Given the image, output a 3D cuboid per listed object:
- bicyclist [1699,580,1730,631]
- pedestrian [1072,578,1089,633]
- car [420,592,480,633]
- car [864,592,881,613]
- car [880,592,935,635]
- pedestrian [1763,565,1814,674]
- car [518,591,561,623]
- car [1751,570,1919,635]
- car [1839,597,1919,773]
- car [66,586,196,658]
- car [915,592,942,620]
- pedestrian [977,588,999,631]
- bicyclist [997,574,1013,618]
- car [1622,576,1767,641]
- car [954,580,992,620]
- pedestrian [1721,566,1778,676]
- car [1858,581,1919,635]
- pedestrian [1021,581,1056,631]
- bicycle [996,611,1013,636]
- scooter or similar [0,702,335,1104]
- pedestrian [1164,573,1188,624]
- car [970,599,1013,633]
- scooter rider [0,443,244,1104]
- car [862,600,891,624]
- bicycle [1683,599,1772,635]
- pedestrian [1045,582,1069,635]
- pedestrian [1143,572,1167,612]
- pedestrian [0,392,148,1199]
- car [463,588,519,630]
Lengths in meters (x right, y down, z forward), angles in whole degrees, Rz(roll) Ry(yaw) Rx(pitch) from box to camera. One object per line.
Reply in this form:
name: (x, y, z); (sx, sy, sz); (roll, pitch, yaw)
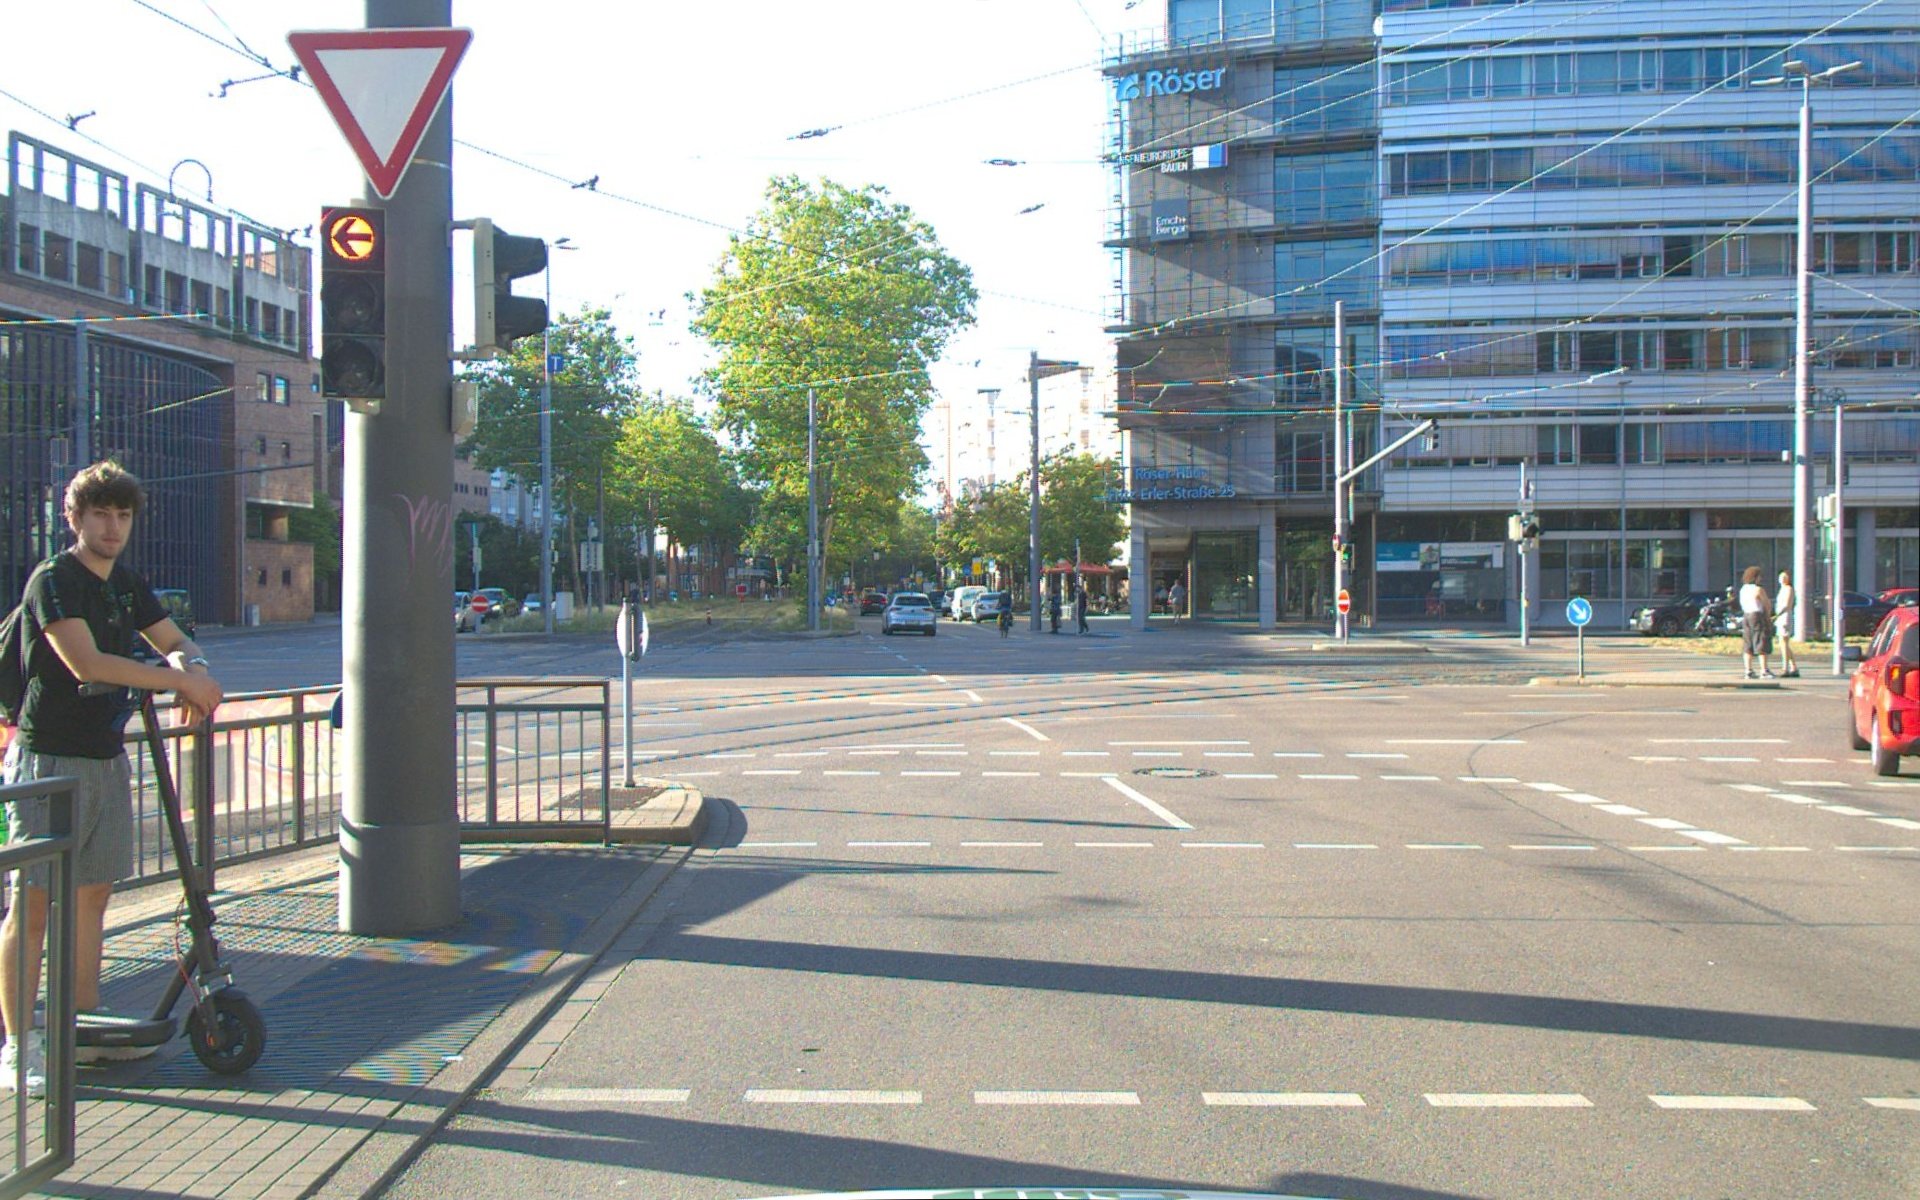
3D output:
bicyclist: (22.730, 0.165, 49.840); (0.649, 1.529, 0.613); (-1, 0, 4)
pedestrian: (4.579, 0.211, 62.847); (0.574, 2.049, 0.620); (1, -1, 0)
car: (-20.612, 0.474, 66.975); (1.591, 1.604, 3.994); (-1, 0, -7)
car: (-11.609, 0.341, 220.405); (1.952, 2.049, 3.999); (1, -9, 0)
car: (-1.794, 0.443, 58.043); (1.712, 1.443, 4.001); (1, 0, 1)
pedestrian: (13.852, 0.317, 27.675); (0.725, 1.789, 0.685); (-1, 0, 26)
car: (-22.202, 0.360, 87.521); (1.644, 1.635, 3.994); (1, 0, -7)
car: (25.092, 0.058, 47.142); (4.165, 1.753, 1.885); (-1, 0, 2)
car: (9.292, 0.726, 15.498); (1.460, 1.485, 3.597); (1, 0, 22)
car: (-21.820, 0.545, 43.712); (1.832, 1.793, 3.993); (1, 0, -8)
car: (-2.398, 0.454, 126.829); (1.953, 2.049, 3.999); (1, 0, -1)
pedestrian: (1.154, 0.375, 68.108); (0.852, 1.737, 0.793); (1, -1, -1)
bicyclist: (1.510, -0.125, 55.899); (0.477, 1.464, 0.615); (1, 0, -1)
car: (24.298, 0.278, 54.782); (3.906, 2.049, 2.000); (1, 0, -1)
car: (0.693, 0.006, 89.609); (1.953, 2.049, 3.999); (1, 0, -1)
pedestrian: (13.058, 0.336, 27.359); (0.663, 1.789, 0.742); (-1, 0, 10)
car: (29.416, 0.258, 49.672); (3.903, 1.579, 1.798); (1, 0, 4)
pedestrian: (3.133, 0.230, 66.186); (1.315, 1.984, 1.011); (0, 0, -1)
bicycle: (1.496, 0.791, 55.885); (0.481, 0.802, 1.861); (1, 0, -1)
scooter or similar: (-2.639, 0.890, 5.066); (1.177, 1.100, 0.648); (-1, 0, 3)
pedestrian: (8.813, -0.049, 67.501); (0.852, 2.049, 0.793); (1, -2, -1)
car: (1.545, 0.791, 82.978); (1.988, 1.624, 3.999); (1, 0, -1)
scooter rider: (-2.644, 0.501, 5.087); (0.554, 1.885, 0.680); (-1, -2, 4)
car: (-5.386, 0.758, 105.730); (1.729, 1.429, 4.292); (0, 0, -5)
bicycle: (23.112, 0.504, 49.806); (2.359, 1.040, 0.637); (-1, 0, 4)
pedestrian: (3.771, 0.320, 64.195); (0.832, 2.049, 0.707); (1, -1, -4)
pedestrian: (11.192, -0.446, 94.925); (1.285, 2.228, 1.171); (1, -1, 5)
pedestrian: (-2.819, 0.475, 4.101); (1.143, 1.917, 0.854); (-1, 0, 4)
car: (-21.109, 0.394, 74.494); (1.787, 1.821, 3.994); (-1, 0, -7)
